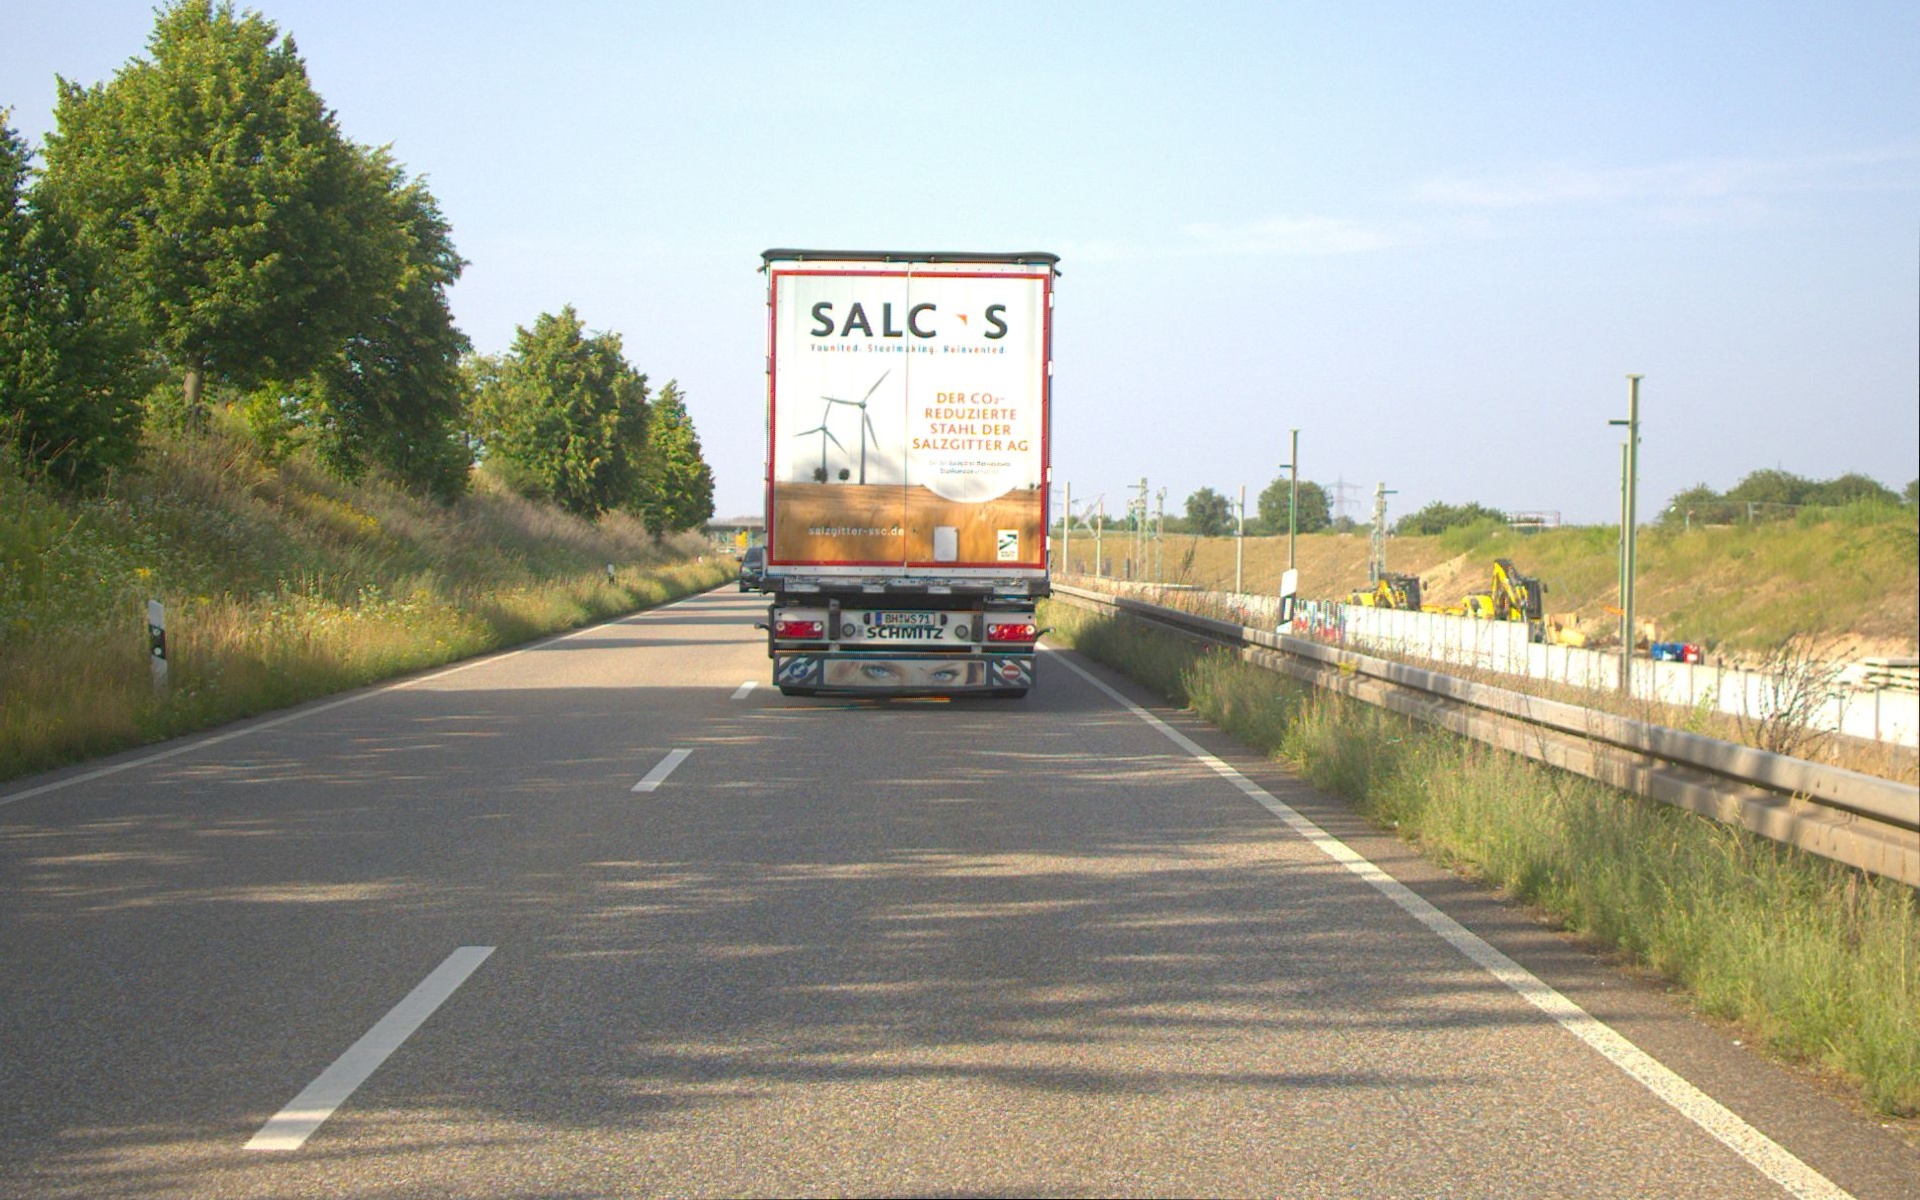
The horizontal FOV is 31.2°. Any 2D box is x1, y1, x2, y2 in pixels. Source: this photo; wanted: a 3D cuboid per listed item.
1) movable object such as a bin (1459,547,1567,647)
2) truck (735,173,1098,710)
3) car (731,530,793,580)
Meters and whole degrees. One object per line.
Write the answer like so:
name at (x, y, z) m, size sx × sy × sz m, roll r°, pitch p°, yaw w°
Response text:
movable object such as a bin at (22.286, -0.168, 138.872) m, size 2.796 × 3.872 × 7.539 m, roll 1°, pitch 1°, yaw -2°
truck at (-0.457, -1.462, 34.266) m, size 3.153 × 4.672 × 8.442 m, roll 0°, pitch 1°, yaw -1°
car at (-6.216, -1.422, 108.370) m, size 1.743 × 1.541 × 4.312 m, roll 0°, pitch 1°, yaw -1°
